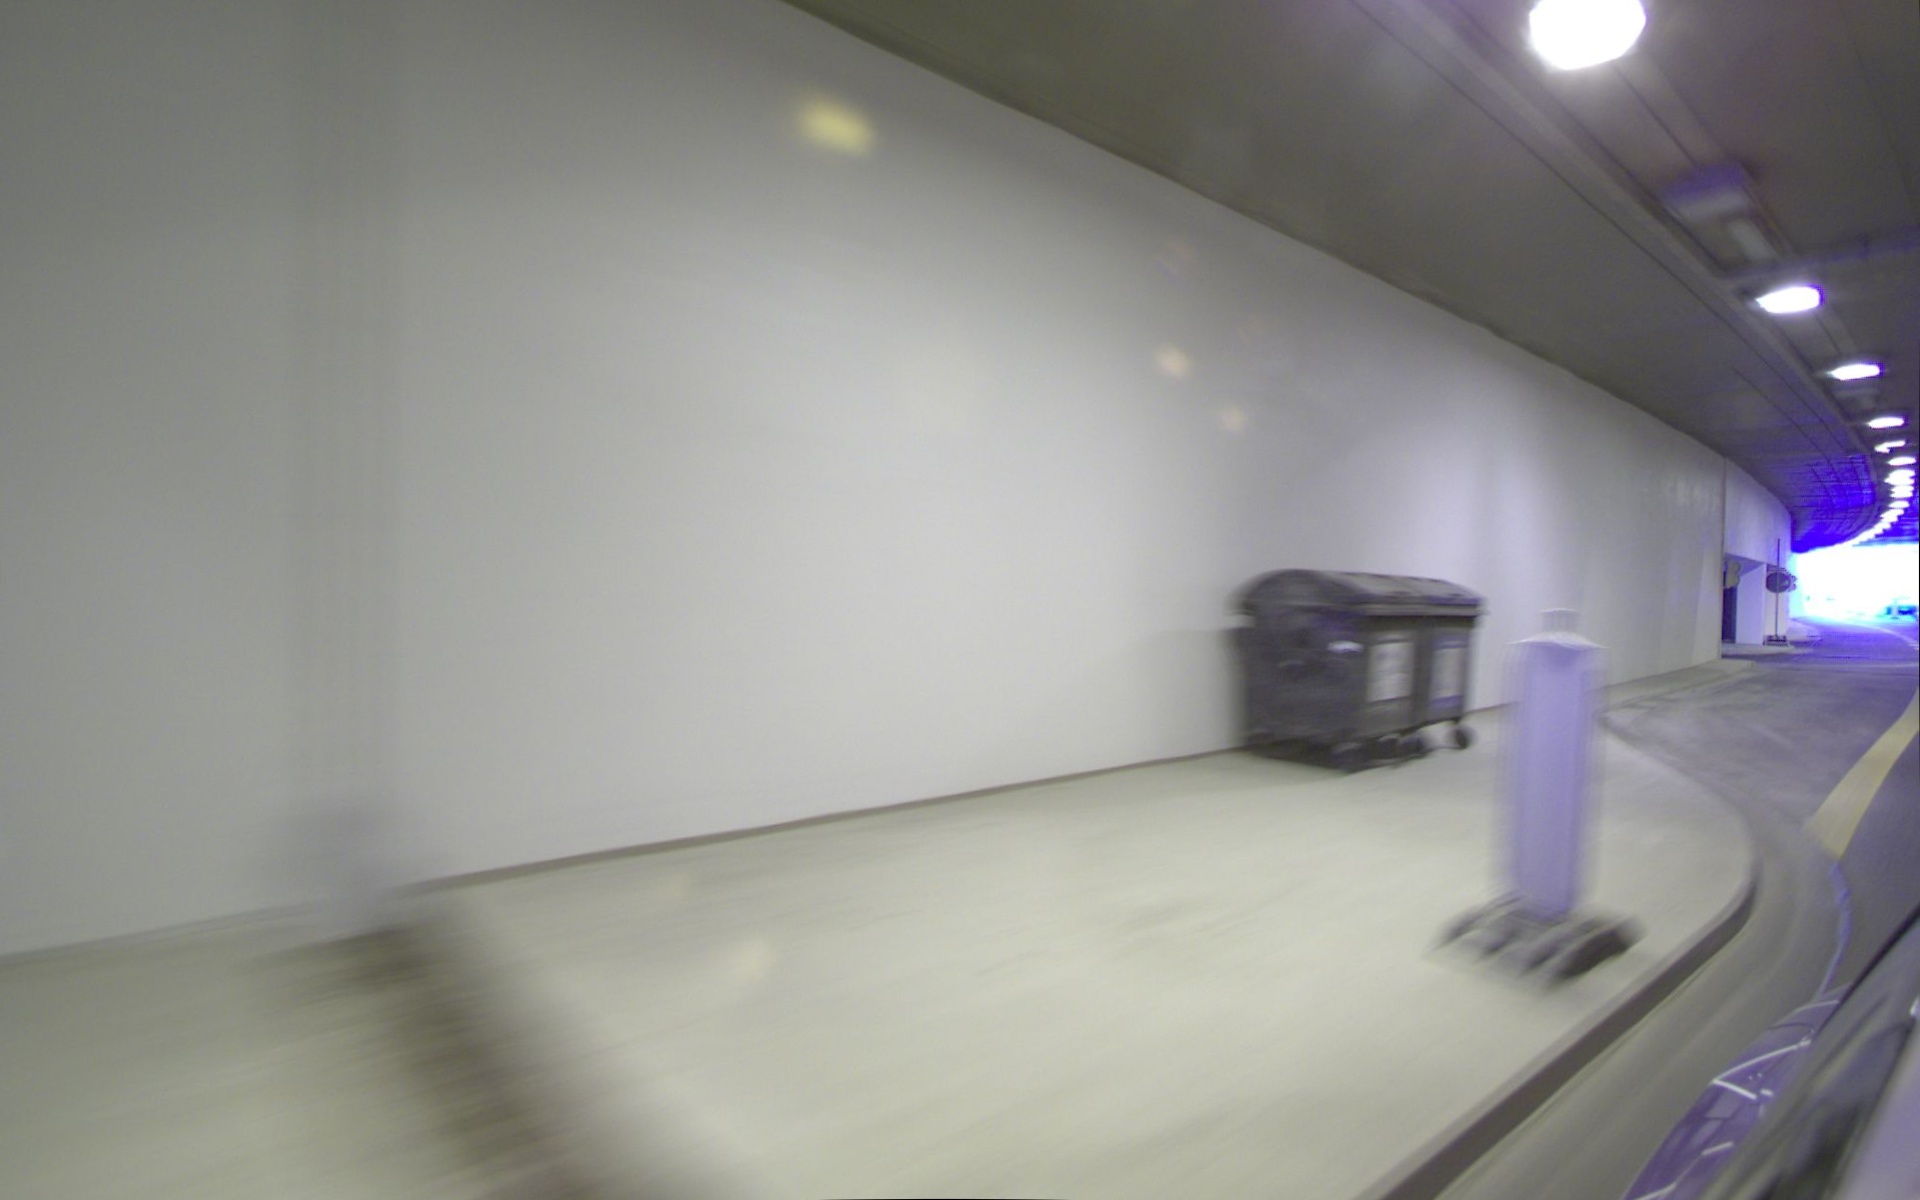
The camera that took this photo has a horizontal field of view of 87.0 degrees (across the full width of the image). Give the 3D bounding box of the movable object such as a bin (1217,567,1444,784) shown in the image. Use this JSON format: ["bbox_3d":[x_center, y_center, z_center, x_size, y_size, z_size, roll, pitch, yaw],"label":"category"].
[{"bbox_3d":[2.821,0.492,7.702,1.341,1.463,1.147,-1,1,-43],"label":"movable object such as a bin"}]

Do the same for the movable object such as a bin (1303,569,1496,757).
[{"bbox_3d":[3.782,0.468,8.707,1.300,1.463,1.099,-1,1,-43],"label":"movable object such as a bin"}]

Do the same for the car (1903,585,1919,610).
[{"bbox_3d":[70.696,-0.228,74.194,1.991,1.775,3.943,1,1,40],"label":"car"}]
